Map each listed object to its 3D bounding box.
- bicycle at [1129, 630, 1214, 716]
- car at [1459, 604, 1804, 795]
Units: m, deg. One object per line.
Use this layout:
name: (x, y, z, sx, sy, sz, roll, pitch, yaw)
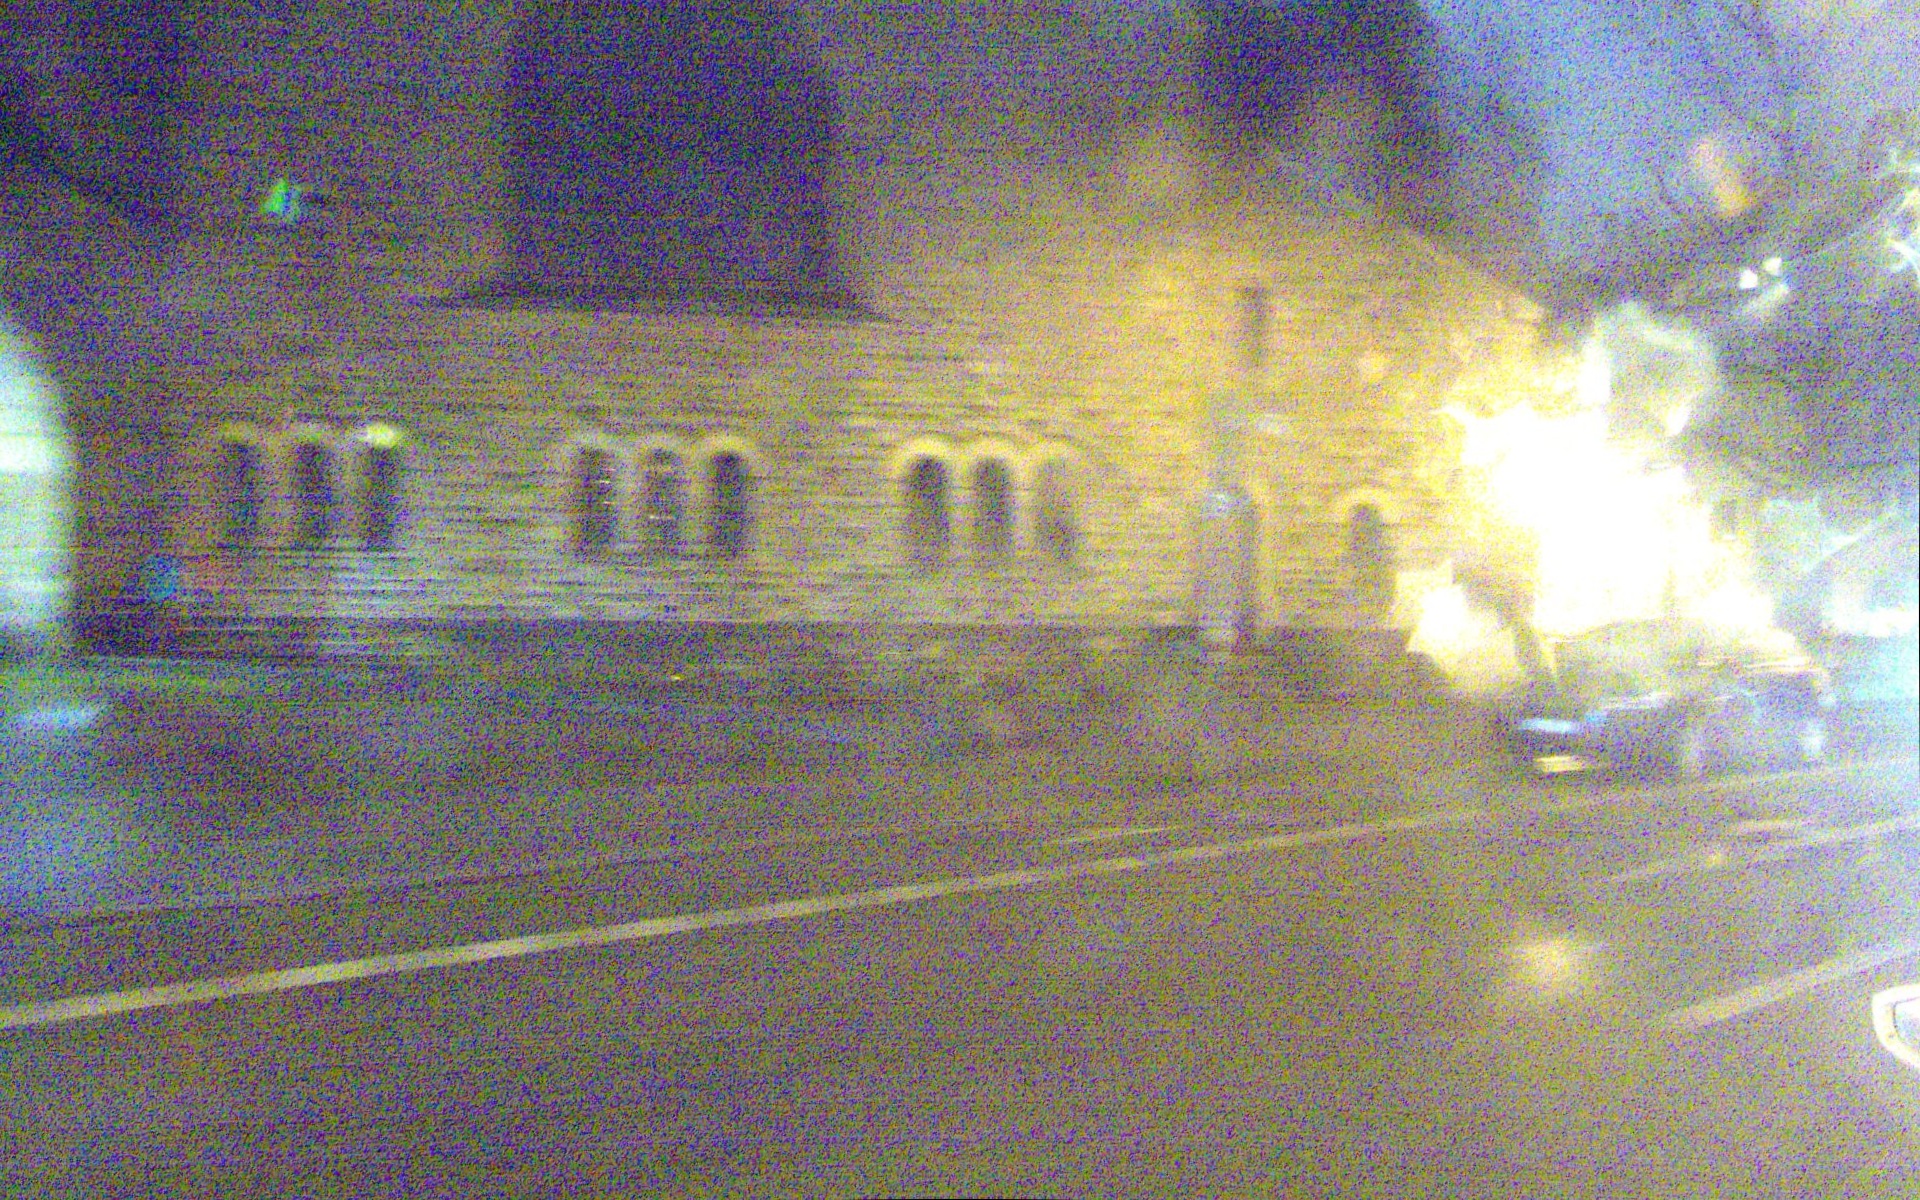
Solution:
bicycle: (3.138, 1.053, 15.088, 0.532, 1.196, 1.967, 1, -1, -10)
car: (7.417, 0.928, 10.941, 4.370, 1.692, 1.799, 1, -1, -37)
